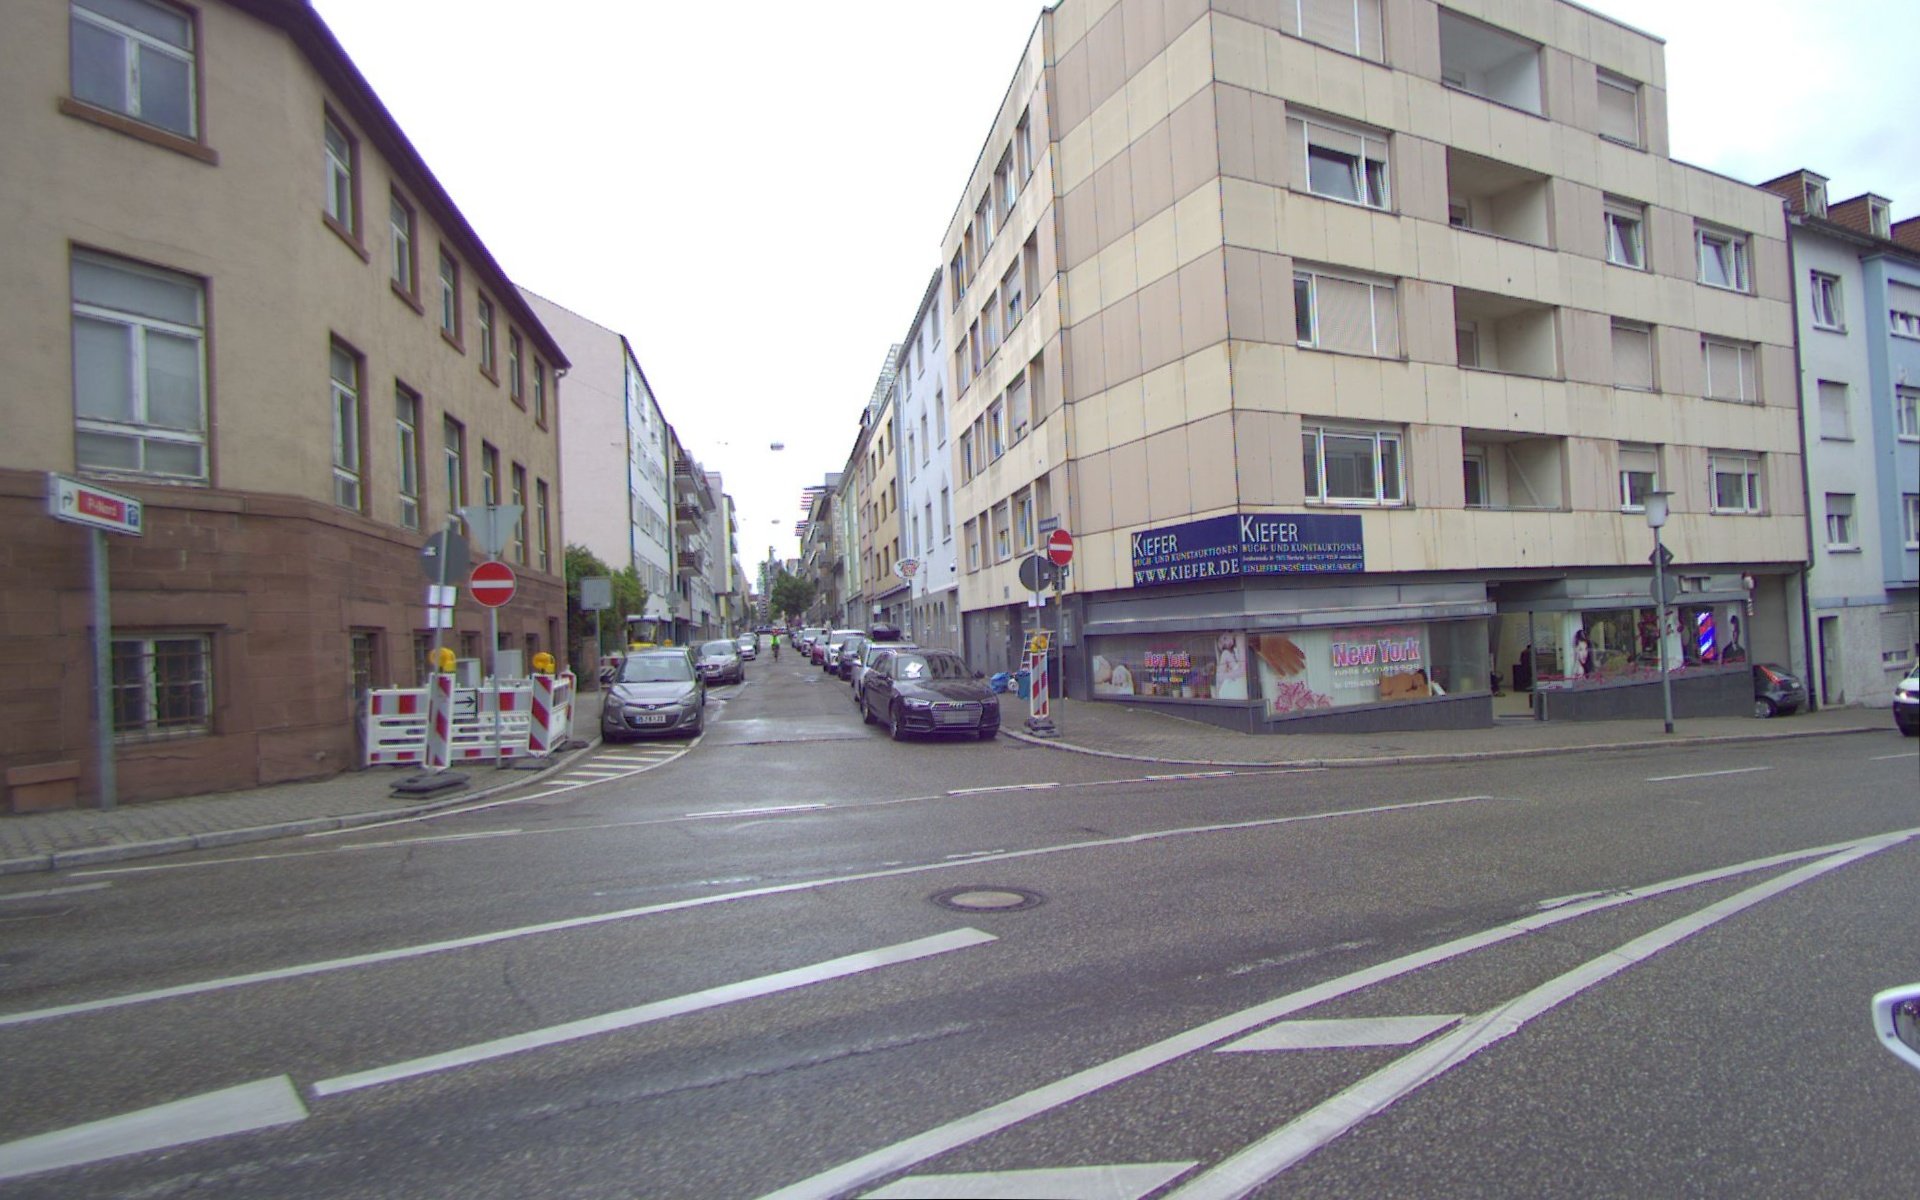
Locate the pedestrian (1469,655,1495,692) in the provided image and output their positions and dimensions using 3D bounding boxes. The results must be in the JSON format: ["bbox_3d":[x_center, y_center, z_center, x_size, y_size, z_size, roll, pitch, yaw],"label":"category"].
[{"bbox_3d":[15.357,2.160,29.555,0.443,1.028,0.478,-4,0,-29],"label":"pedestrian"}]

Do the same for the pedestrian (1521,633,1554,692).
[{"bbox_3d":[16.246,1.750,28.254,0.664,1.583,0.446,-4,0,-27],"label":"pedestrian"}]

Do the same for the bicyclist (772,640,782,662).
[{"bbox_3d":[-10.350,2.873,56.760,0.458,1.169,0.468,-4,0,-12],"label":"bicyclist"}]

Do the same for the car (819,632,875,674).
[{"bbox_3d":[-4.517,2.063,39.671,1.864,1.532,4.339,1,-2,-11],"label":"car"}]

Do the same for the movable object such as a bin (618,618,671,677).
[{"bbox_3d":[-10.288,1.530,32.923,1.373,1.755,3.480,-3,-1,-14],"label":"movable object such as a bin"}]

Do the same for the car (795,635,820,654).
[{"bbox_3d":[-12.934,3.728,85.160,1.864,1.532,4.339,1,-2,-11],"label":"car"}]

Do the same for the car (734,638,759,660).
[{"bbox_3d":[-16.456,3.750,77.329,1.699,1.531,3.912,-2,-1,-13],"label":"car"}]

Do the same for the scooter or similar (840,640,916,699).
[{"bbox_3d":[-2.283,1.840,27.430,1.663,1.346,3.084,-4,-1,-11],"label":"scooter or similar"}]

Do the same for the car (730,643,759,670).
[{"bbox_3d":[-13.843,3.593,64.444,1.699,1.531,3.912,-2,-1,-13],"label":"car"}]

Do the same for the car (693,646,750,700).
[{"bbox_3d":[-8.056,2.420,33.995,1.699,1.531,3.912,-2,-1,-13],"label":"car"}]

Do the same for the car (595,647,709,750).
[{"bbox_3d":[-5.620,1.726,18.753,1.699,1.531,3.990,-2,-1,-13],"label":"car"}]

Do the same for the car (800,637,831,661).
[{"bbox_3d":[-9.897,3.334,68.636,1.864,1.532,4.339,1,-2,-11],"label":"car"}]

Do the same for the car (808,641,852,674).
[{"bbox_3d":[-6.539,2.824,50.157,1.864,1.532,4.339,1,-2,-11],"label":"car"}]

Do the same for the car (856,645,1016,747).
[{"bbox_3d":[-0.574,1.618,18.107,1.867,1.532,4.333,1,-2,-16],"label":"car"}]

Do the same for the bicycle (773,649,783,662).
[{"bbox_3d":[-10.265,3.143,56.617,0.458,0.641,1.352,-4,-1,-11],"label":"bicycle"}]

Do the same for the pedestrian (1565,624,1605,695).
[{"bbox_3d":[16.090,1.526,25.880,0.565,1.753,0.596,-4,0,-30],"label":"pedestrian"}]

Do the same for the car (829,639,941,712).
[{"bbox_3d":[-1.909,1.735,24.151,1.867,1.532,4.333,1,-2,-16],"label":"car"}]

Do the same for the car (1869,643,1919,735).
[{"bbox_3d":[20.560,1.742,20.283,4.345,1.775,1.863,1,-5,-29],"label":"car"}]

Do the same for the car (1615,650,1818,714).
[{"bbox_3d":[20.125,2.152,26.897,1.777,1.519,3.971,3,-3,-28],"label":"car"}]

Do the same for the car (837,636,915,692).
[{"bbox_3d":[-2.588,1.867,30.074,1.864,1.532,4.339,1,-2,-11],"label":"car"}]
